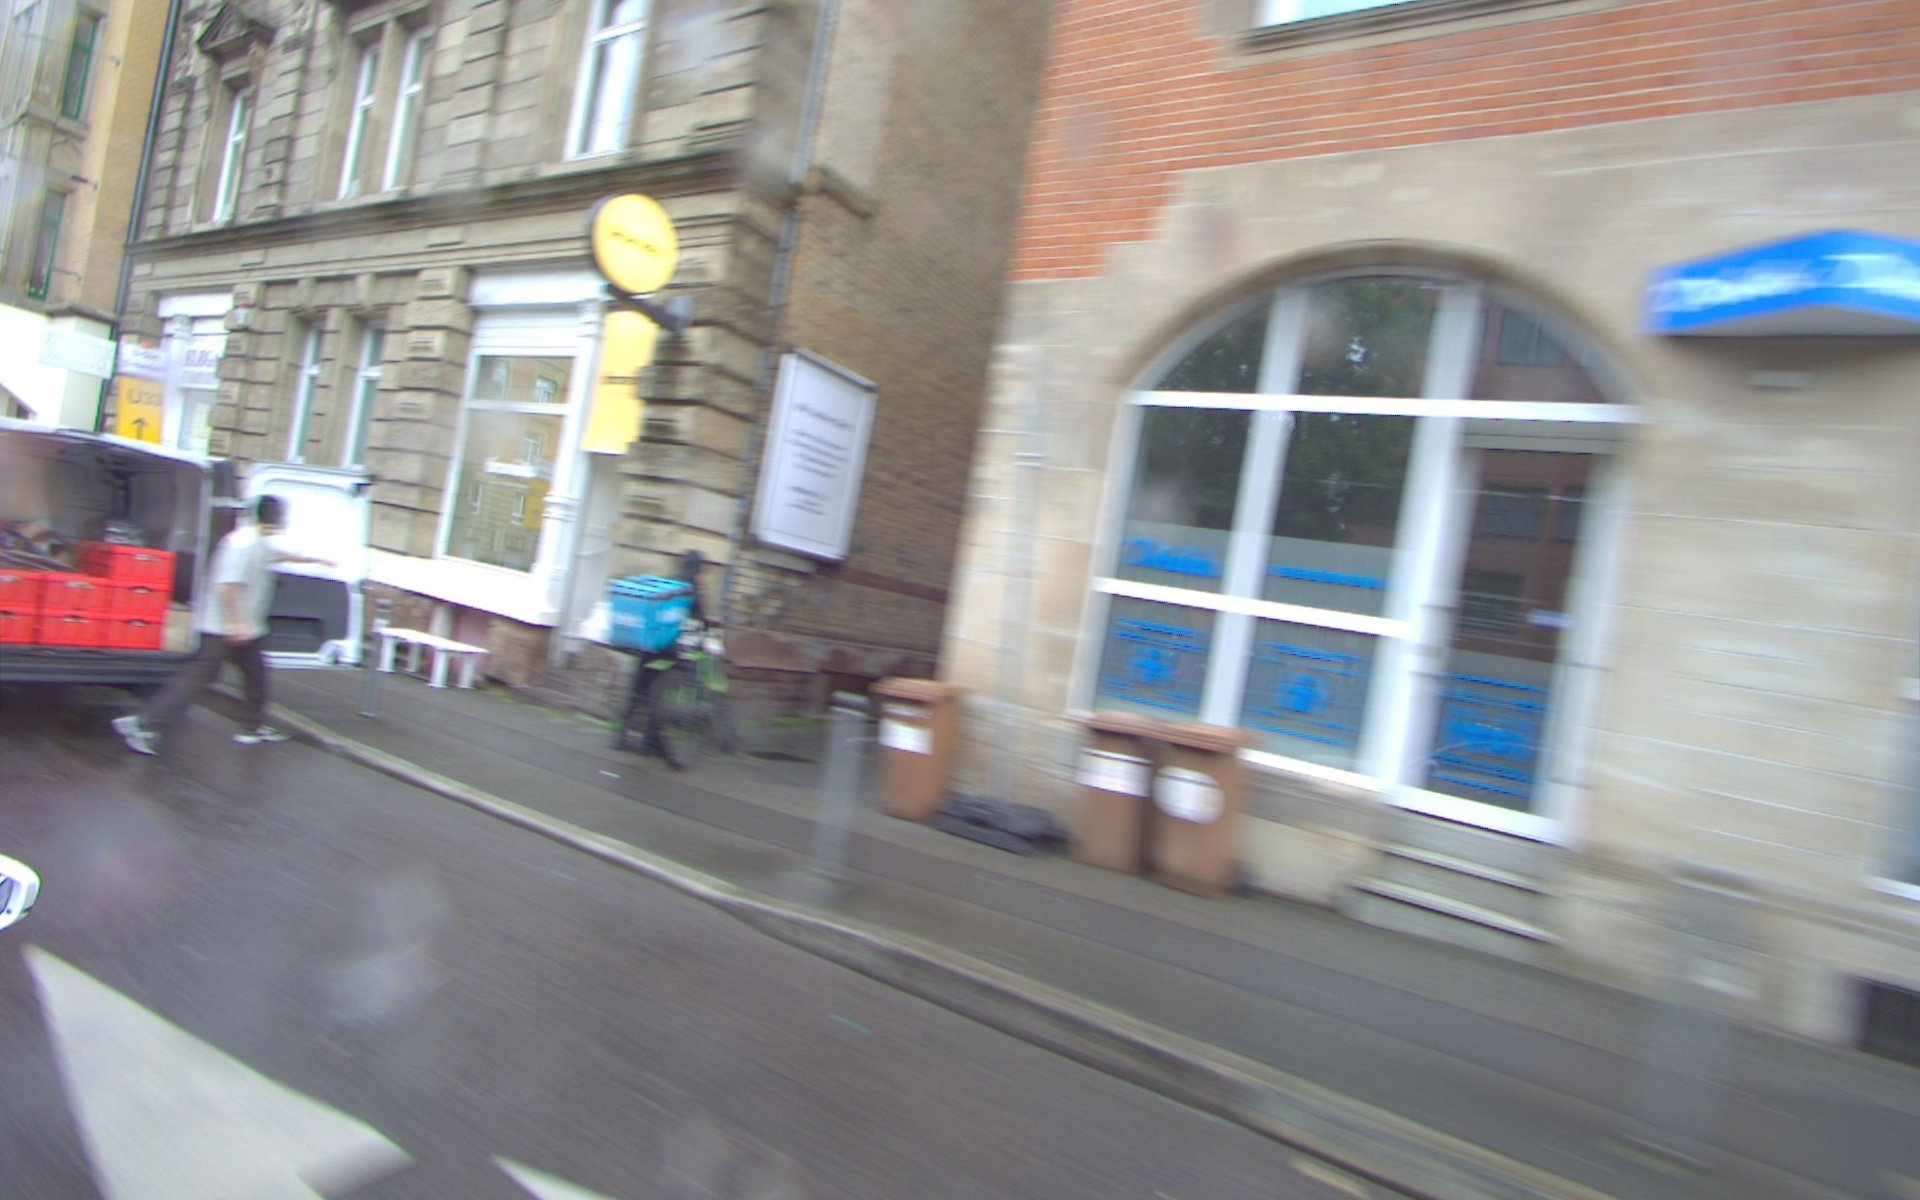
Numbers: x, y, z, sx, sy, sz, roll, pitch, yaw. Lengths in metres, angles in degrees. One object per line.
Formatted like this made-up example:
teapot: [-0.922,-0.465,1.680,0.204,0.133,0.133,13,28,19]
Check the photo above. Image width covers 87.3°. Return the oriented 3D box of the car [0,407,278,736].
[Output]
car: [-7.416,-0.330,7.717,4.611,1.958,1.923,7,-2,35]

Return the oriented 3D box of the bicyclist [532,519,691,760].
bicyclist: [-2.636,0.299,7.687,0.619,1.677,0.851,7,0,11]

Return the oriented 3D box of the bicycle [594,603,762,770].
bicycle: [-2.165,0.650,7.960,0.456,1.128,1.691,7,-1,11]

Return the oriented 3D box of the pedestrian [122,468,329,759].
pedestrian: [-4.897,0.101,6.777,0.825,1.775,0.683,7,0,-24]
